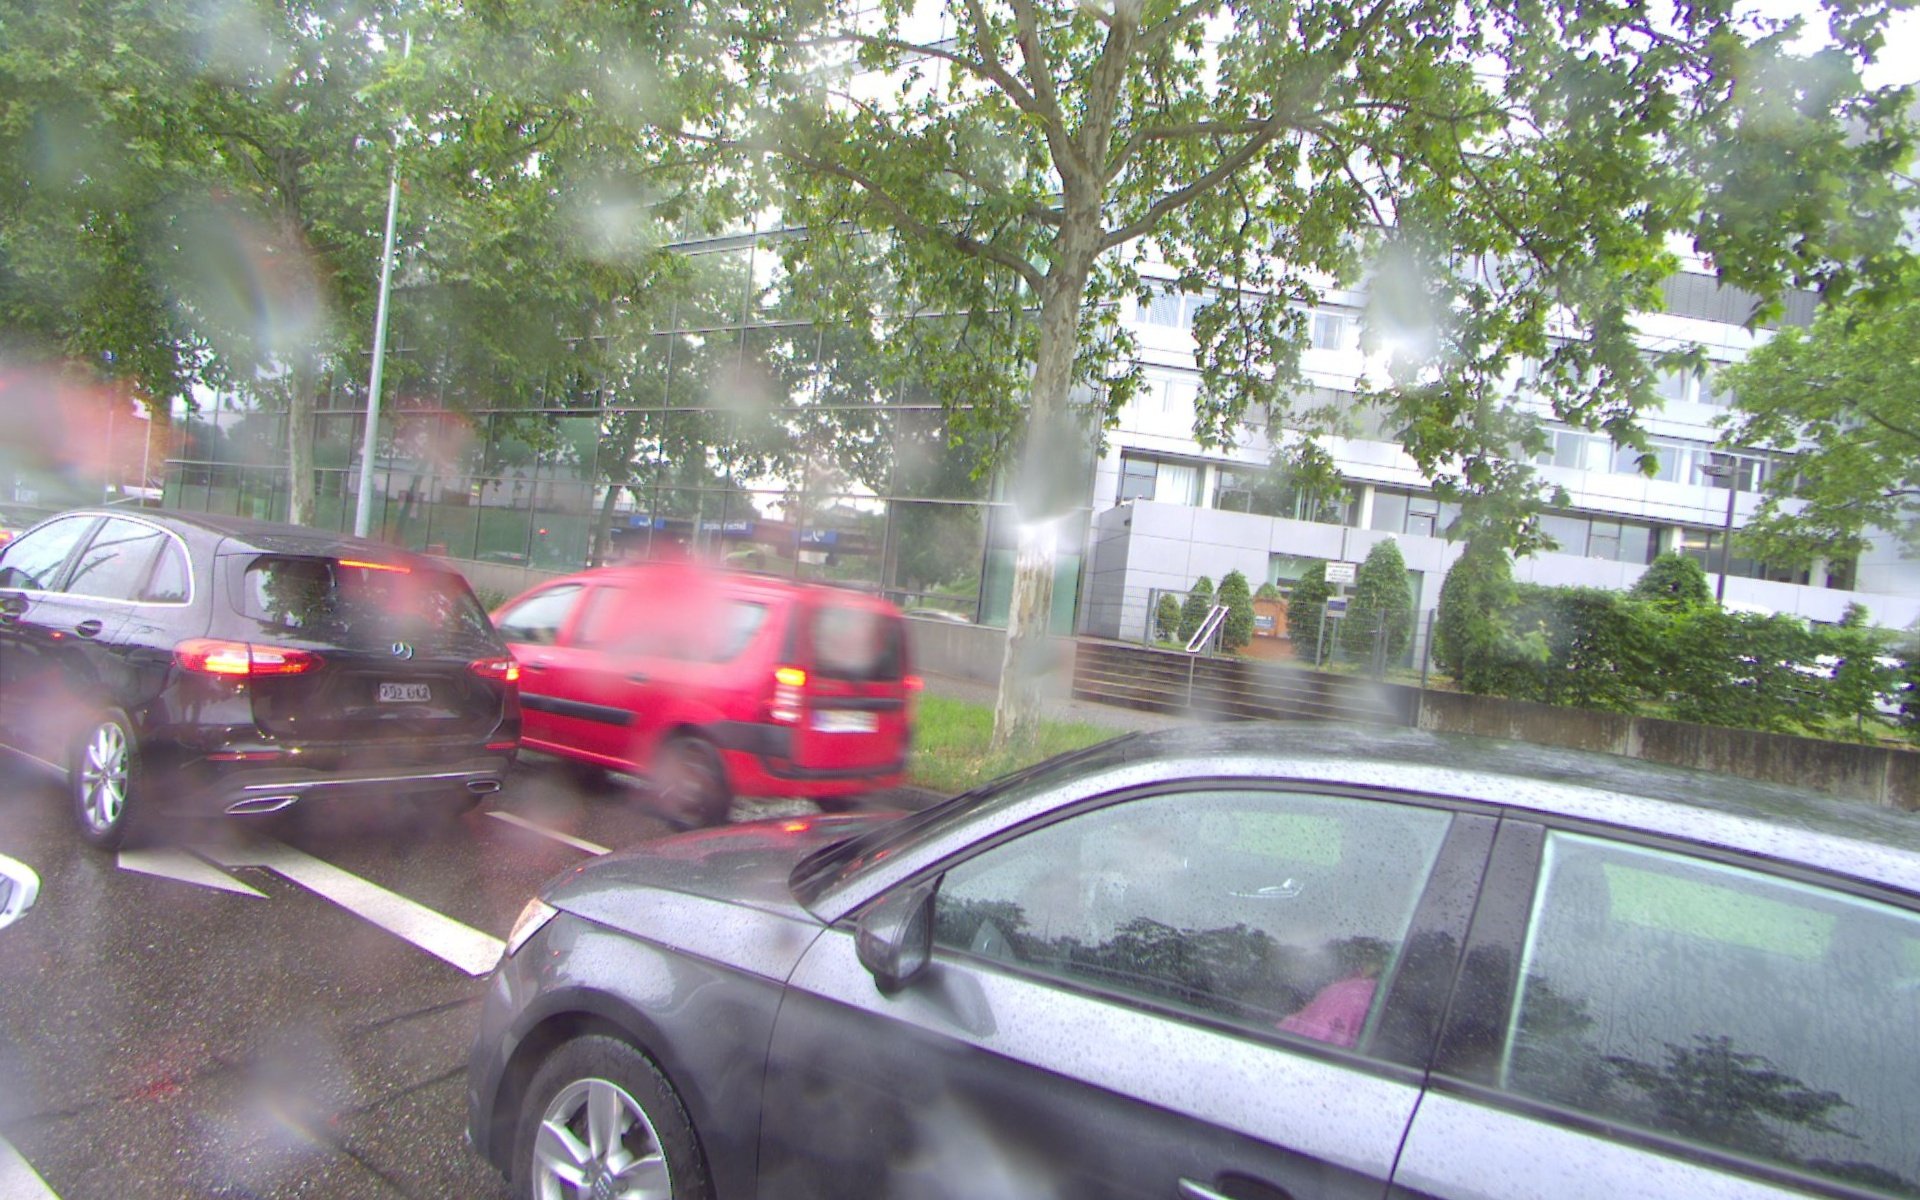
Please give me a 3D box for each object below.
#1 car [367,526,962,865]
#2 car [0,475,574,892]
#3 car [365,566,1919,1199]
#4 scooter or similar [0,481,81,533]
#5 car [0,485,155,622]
[{"bbox_3d":[-2.299,0.539,7.478,4.201,1.714,1.714,6,-2,31],"label":"car"},{"bbox_3d":[-4.343,0.247,5.757,4.022,1.573,1.751,7,-1,31],"label":"car"},{"bbox_3d":[0.679,0.899,2.123,3.718,1.445,1.679,7,-1,31],"label":"car"},{"bbox_3d":[-54.520,-5.514,58.152,5.228,2.476,1.893,7,0,-9],"label":"scooter or similar"},{"bbox_3d":[-13.839,-0.807,14.701,3.933,1.631,1.880,7,-2,32],"label":"car"}]
